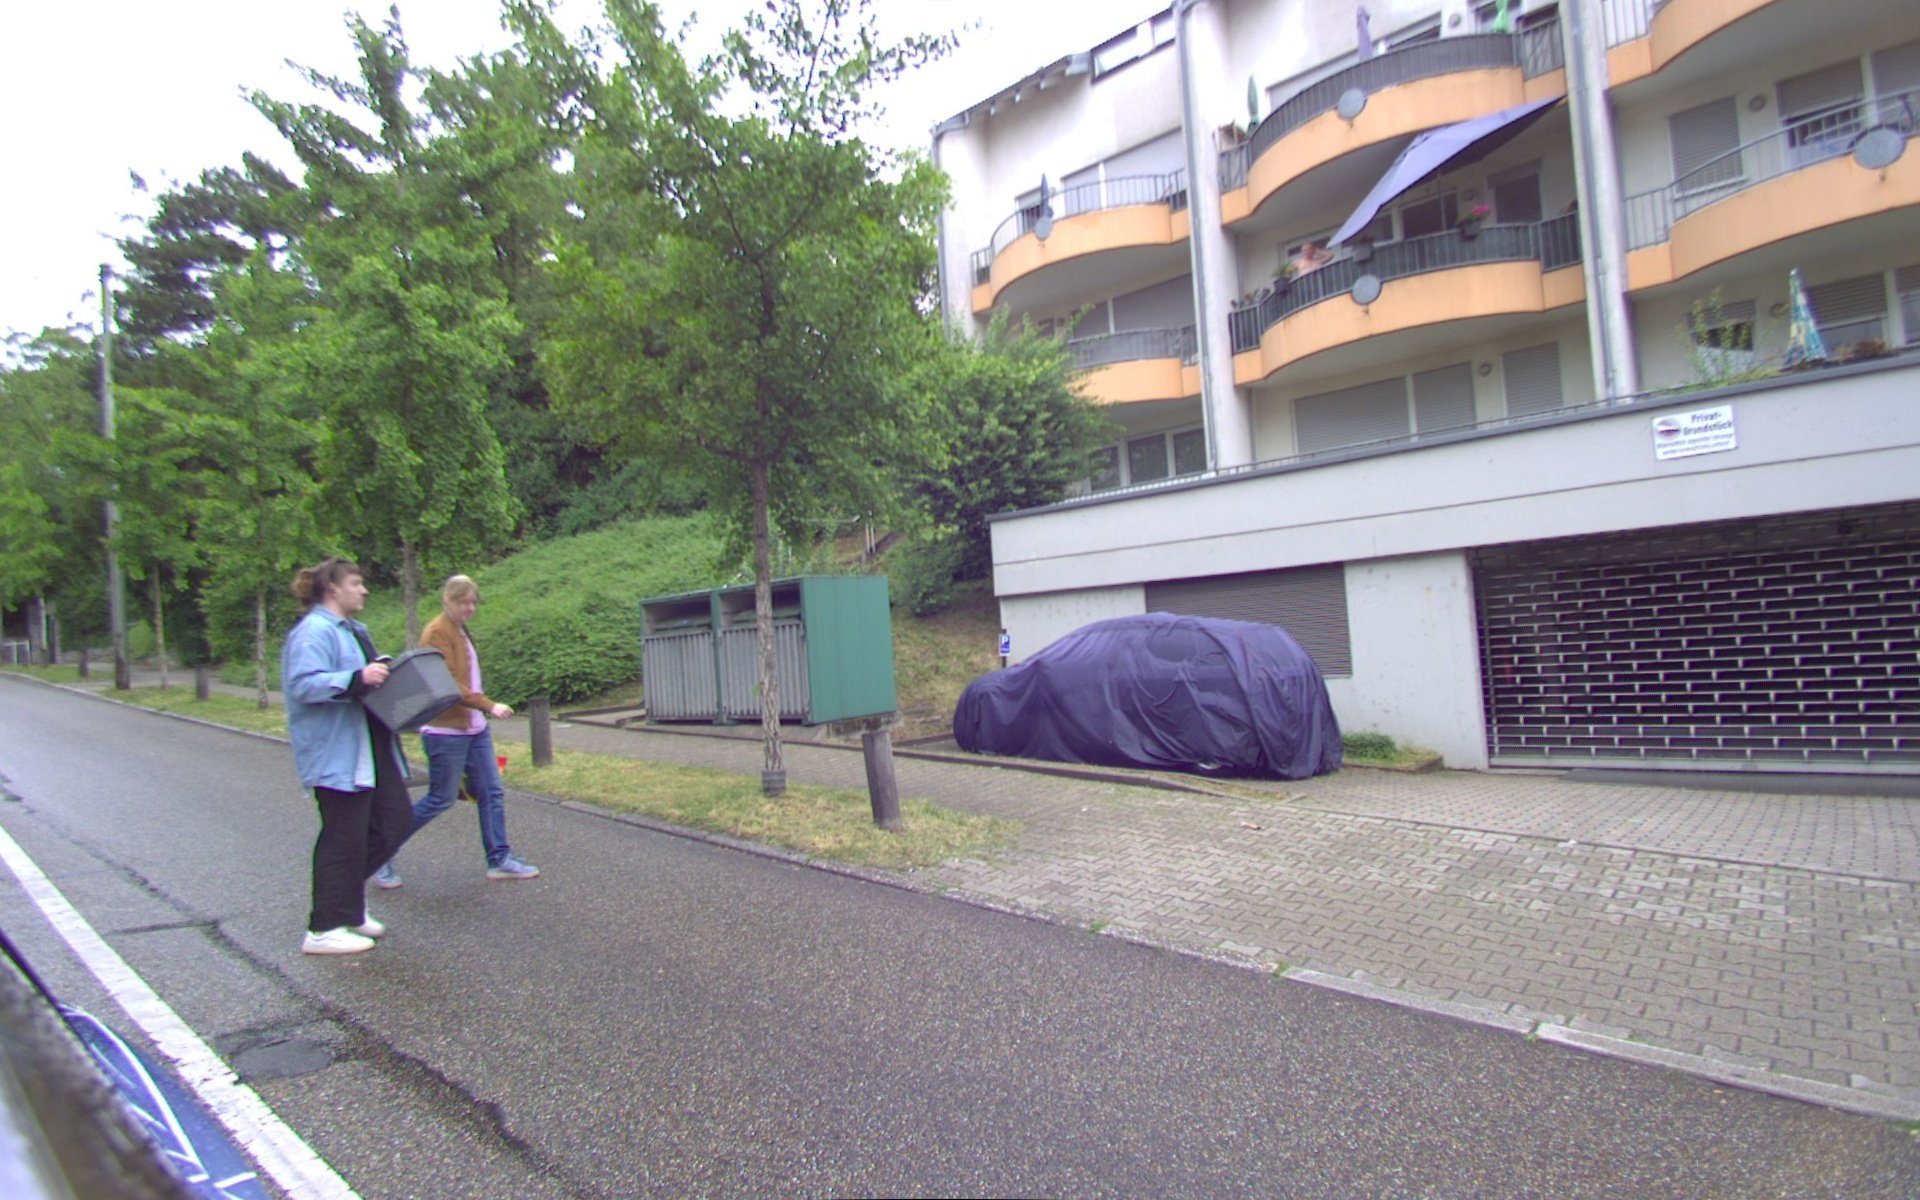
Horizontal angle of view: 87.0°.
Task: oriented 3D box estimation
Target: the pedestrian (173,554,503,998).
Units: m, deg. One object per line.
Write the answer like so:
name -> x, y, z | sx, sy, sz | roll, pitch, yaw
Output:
pedestrian -> -2.794, 0.713, 4.695 | 1.055, 1.795, 0.827 | -3, 1, -17

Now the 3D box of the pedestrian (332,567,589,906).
pedestrian -> -2.838, 0.734, 5.845 | 1.060, 1.795, 0.823 | 0, -1, 5

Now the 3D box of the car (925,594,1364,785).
car -> 1.744, 0.831, 10.350 | 4.096, 1.573, 1.759 | -2, -5, 41
